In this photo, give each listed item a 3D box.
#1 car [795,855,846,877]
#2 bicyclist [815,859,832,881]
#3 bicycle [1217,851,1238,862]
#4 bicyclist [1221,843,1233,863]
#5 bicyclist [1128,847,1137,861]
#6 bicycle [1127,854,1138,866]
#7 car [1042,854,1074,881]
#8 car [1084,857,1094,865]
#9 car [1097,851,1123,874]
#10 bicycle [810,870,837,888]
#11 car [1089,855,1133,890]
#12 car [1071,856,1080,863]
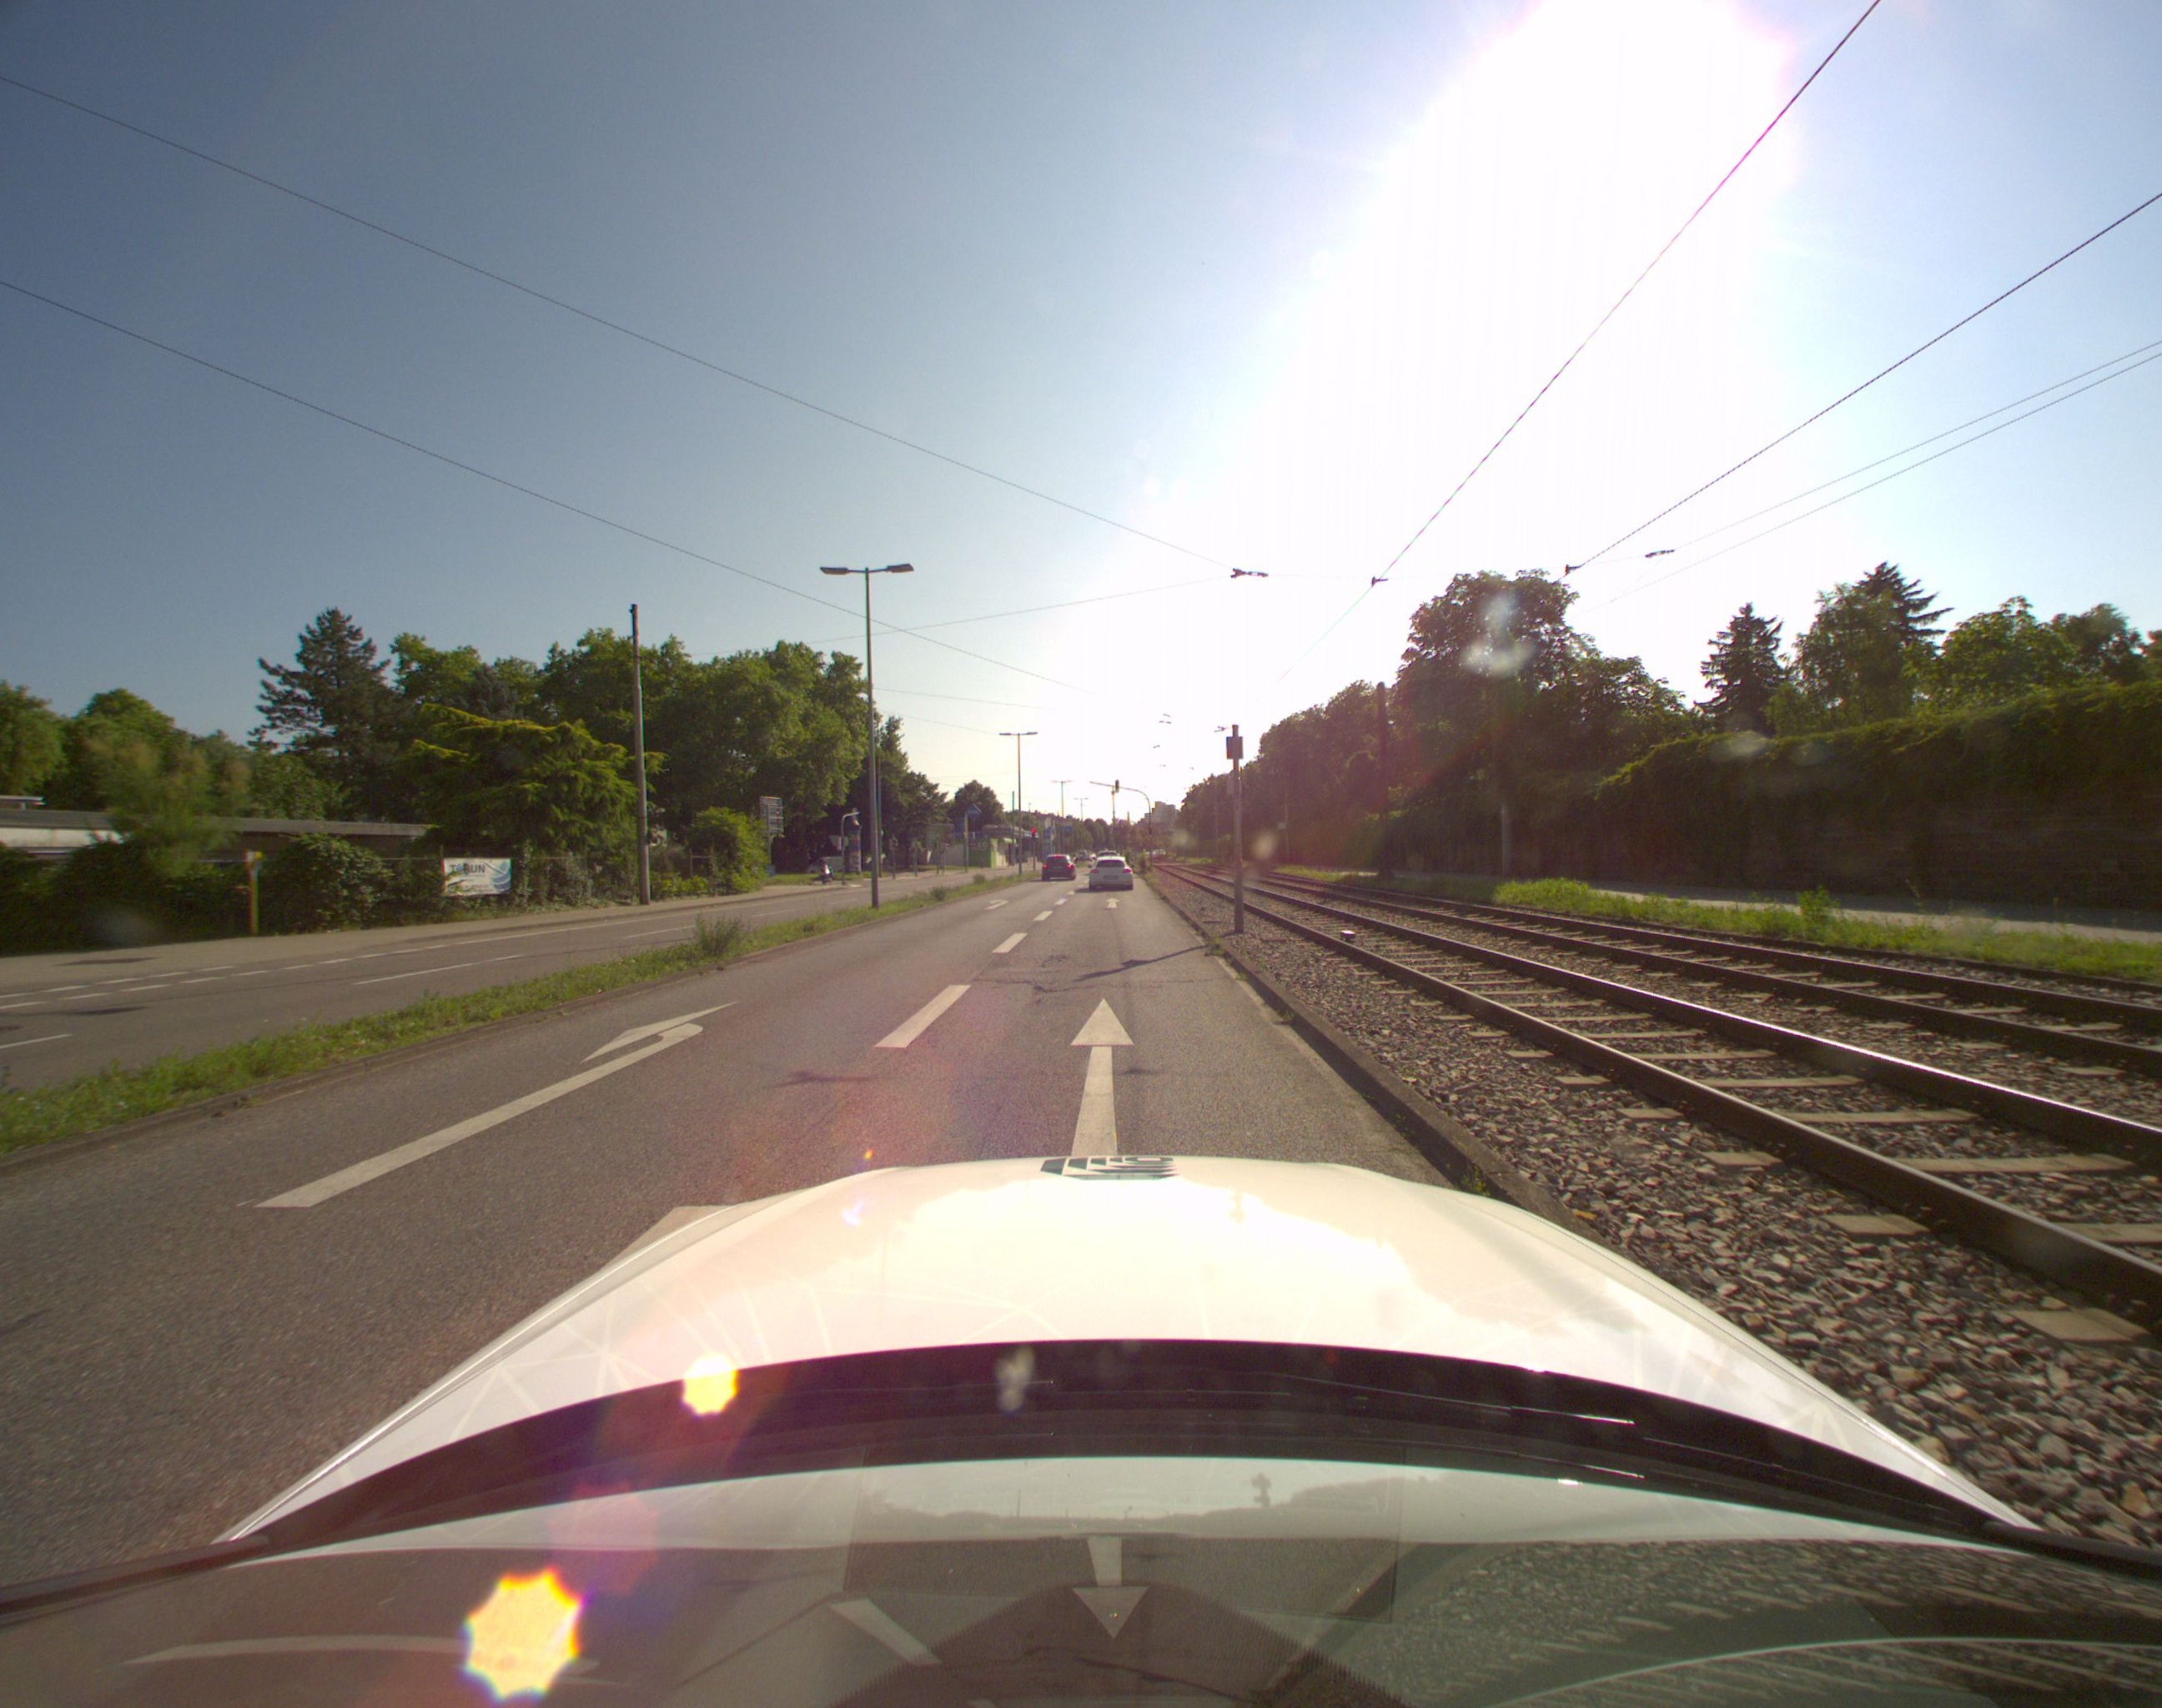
[{"bbox_3d":[-25.420,1.170,79.547,4.362,1.963,1.828,-2,0,9],"label":"car"},{"bbox_3d":[-16.809,1.040,53.195,0.658,1.452,1.053,-2,0,6],"label":"bicyclist"},{"bbox_3d":[15.540,0.310,86.376,1.903,1.115,0.953,-2,0,27],"label":"bicycle"},{"bbox_3d":[15.489,-0.116,86.392,1.023,1.993,0.953,-2,0,27],"label":"bicyclist"},{"bbox_3d":[5.239,0.006,82.606,0.638,1.416,1.017,-2,-1,18],"label":"bicyclist"},{"bbox_3d":[5.225,0.598,82.475,0.638,1.154,1.946,-2,0,18],"label":"bicycle"},{"bbox_3d":[-1.307,0.728,47.178,1.755,1.485,4.643,0,0,-1],"label":"car"},{"bbox_3d":[1.423,1.220,149.429,1.646,1.395,4.137,-2,0,3],"label":"car"},{"bbox_3d":[2.075,0.605,59.489,1.719,1.593,3.600,0,0,-1],"label":"car"},{"bbox_3d":[-16.797,1.624,53.097,0.658,1.049,2.585,-2,0,6],"label":"bicycle"},{"bbox_3d":[1.269,0.729,34.142,1.774,1.356,3.603,0,0,2],"label":"car"},{"bbox_3d":[-1.096,1.046,164.936,1.567,1.417,3.337,-2,0,4],"label":"car"}]
